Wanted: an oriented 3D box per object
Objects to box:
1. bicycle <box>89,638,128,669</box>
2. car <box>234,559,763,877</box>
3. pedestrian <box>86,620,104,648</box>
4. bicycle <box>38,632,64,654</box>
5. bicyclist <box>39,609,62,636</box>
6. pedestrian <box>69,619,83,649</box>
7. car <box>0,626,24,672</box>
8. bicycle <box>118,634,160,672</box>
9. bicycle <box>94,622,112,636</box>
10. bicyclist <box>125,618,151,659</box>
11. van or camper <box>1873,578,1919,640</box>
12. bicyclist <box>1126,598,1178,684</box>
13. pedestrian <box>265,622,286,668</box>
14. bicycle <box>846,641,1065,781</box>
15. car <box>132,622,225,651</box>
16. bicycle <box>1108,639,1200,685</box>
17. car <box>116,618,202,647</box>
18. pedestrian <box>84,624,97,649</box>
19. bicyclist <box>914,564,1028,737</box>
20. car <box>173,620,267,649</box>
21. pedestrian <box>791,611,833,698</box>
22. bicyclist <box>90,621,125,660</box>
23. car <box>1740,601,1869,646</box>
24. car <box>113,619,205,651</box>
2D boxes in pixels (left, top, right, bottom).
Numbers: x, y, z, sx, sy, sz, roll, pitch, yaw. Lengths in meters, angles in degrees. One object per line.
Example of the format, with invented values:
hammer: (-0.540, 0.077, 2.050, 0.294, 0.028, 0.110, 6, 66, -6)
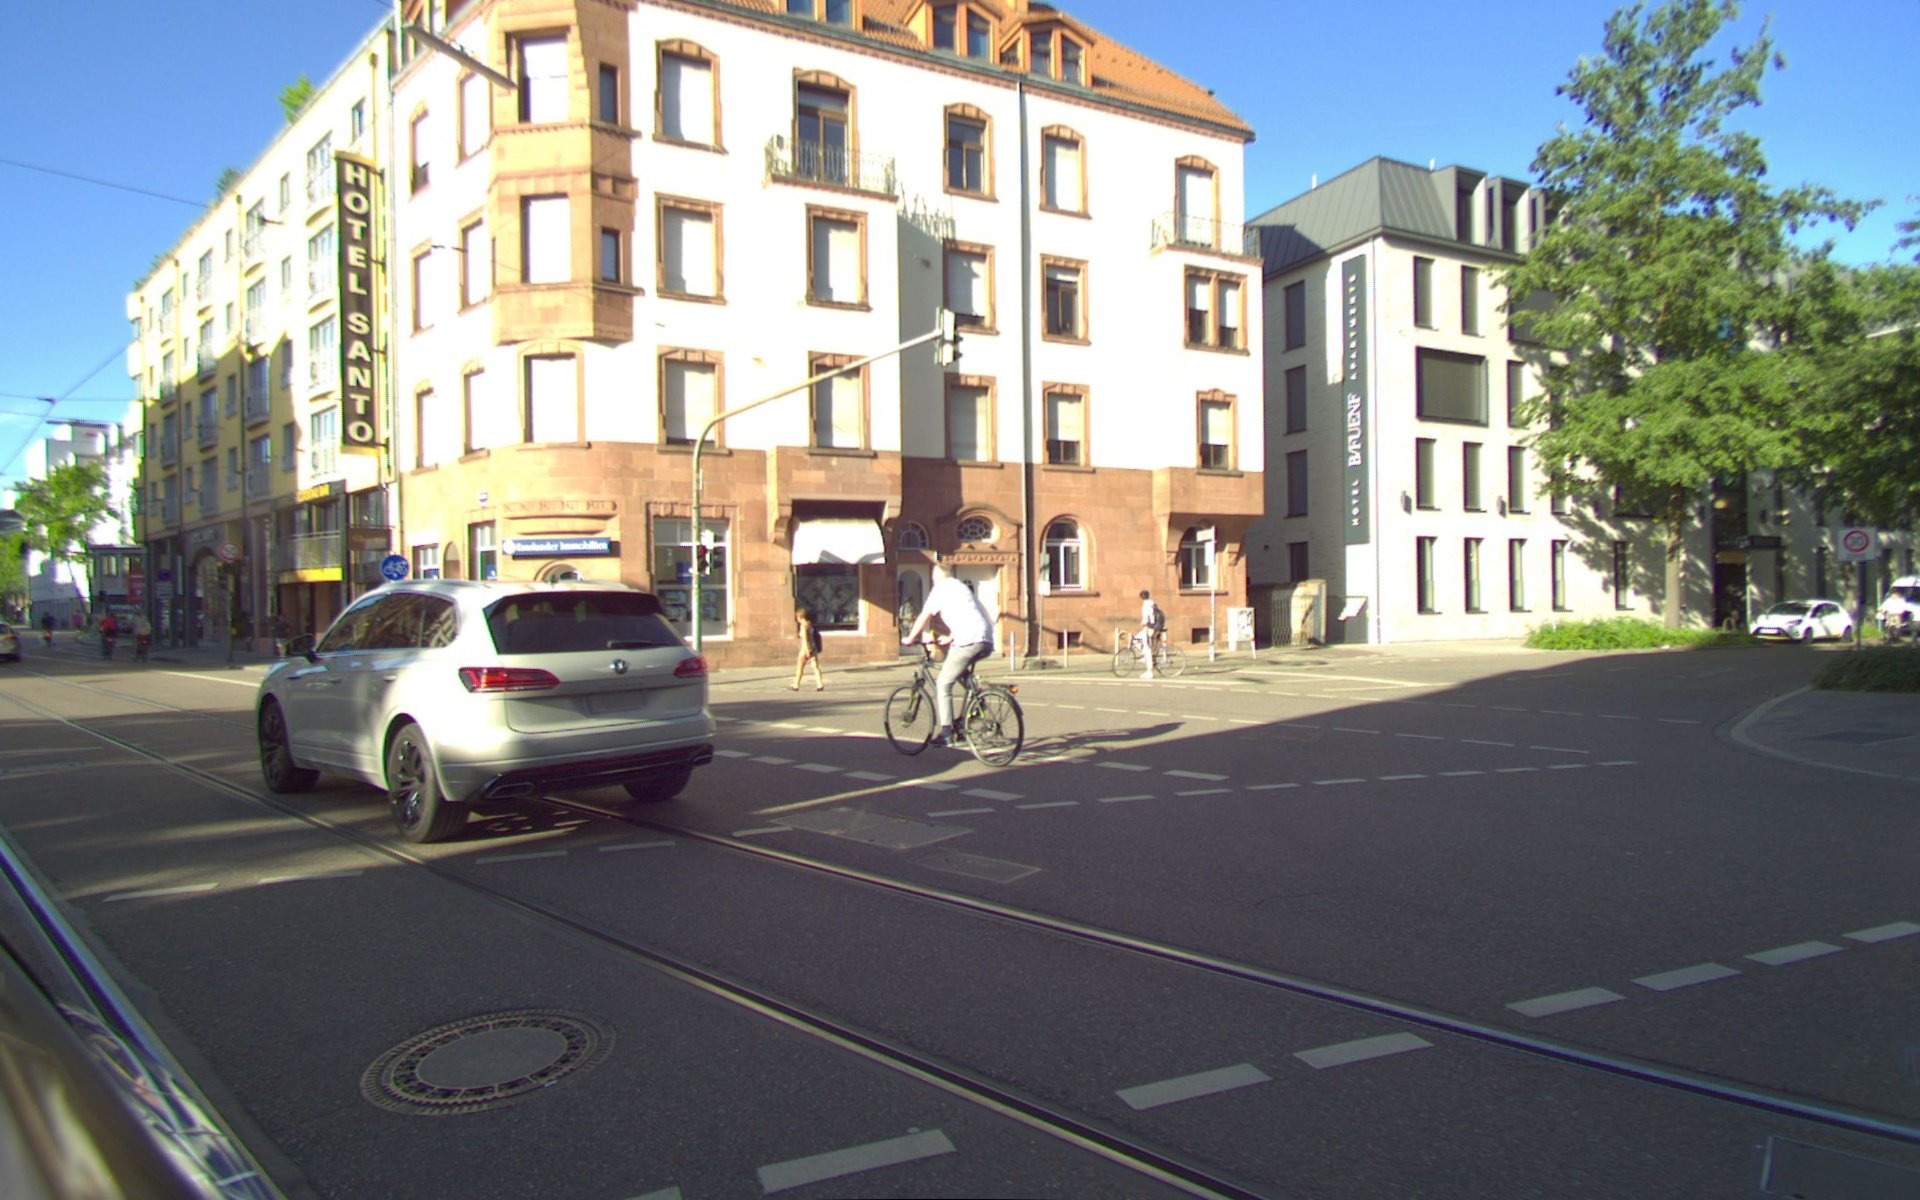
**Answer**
bicycle: (-31.052, 1.943, 36.900, 2.060, 1.073, 0.723, -2, -3, 40)
car: (-3.758, 0.685, 7.824, 4.559, 1.757, 1.973, -1, -1, 40)
pedestrian: (-57.204, 2.242, 66.922, 0.778, 1.777, 0.708, -1, -1, 33)
bicycle: (-47.079, 2.217, 52.385, 2.060, 1.096, 0.723, -1, -1, 40)
bicyclist: (-47.145, 1.169, 52.444, 1.227, 1.391, 0.717, -1, -1, 40)
pedestrian: (-59.002, 2.248, 67.546, 0.708, 1.961, 0.631, -2, -1, 40)
car: (-33.595, 1.666, 34.521, 4.305, 1.513, 1.965, -1, -1, 40)
bicycle: (-28.192, 1.812, 34.741, 2.060, 1.192, 0.723, 0, 1, 40)
bicycle: (-62.776, 2.112, 74.134, 1.874, 1.044, 0.519, -1, -1, 34)
bicyclist: (-28.291, 1.326, 34.824, 0.678, 1.386, 0.584, -1, -1, 40)
van or camper: (39.003, 0.318, 40.197, 5.380, 2.383, 2.007, 0, -1, -24)
bicyclist: (4.074, 0.859, 21.521, 0.961, 1.777, 0.615, -1, -1, 2)
pedestrian: (-21.542, 1.415, 31.853, 0.398, 1.421, 0.517, -1, -1, -16)
bicycle: (-0.088, 0.963, 9.386, 2.082, 1.129, 0.685, -1, -1, 41)
car: (-47.071, 2.160, 61.021, 1.785, 1.621, 4.188, -2, -1, 42)
bicycle: (4.107, 1.308, 21.542, 1.790, 0.916, 0.791, -1, -1, 2)
car: (-52.351, 2.104, 66.225, 1.785, 1.825, 4.188, -2, -1, 42)
pedestrian: (-58.227, 2.431, 67.767, 0.499, 1.629, 0.566, -2, -1, 40)
bicyclist: (0.101, 0.444, 9.289, 0.778, 1.494, 0.675, -2, -1, 40)
car: (-43.820, 2.005, 60.009, 1.784, 1.560, 4.189, 1, 0, 41)
pedestrian: (-2.740, 0.987, 18.713, 0.515, 1.564, 0.537, -1, -1, 40)
bicyclist: (-31.150, 1.474, 36.972, 1.467, 1.391, 0.728, -1, -1, 40)
car: (30.053, 0.819, 36.013, 3.930, 1.475, 2.007, 0, -1, -25)
car: (-49.140, 2.105, 62.146, 1.784, 1.825, 4.189, 1, 0, 41)
